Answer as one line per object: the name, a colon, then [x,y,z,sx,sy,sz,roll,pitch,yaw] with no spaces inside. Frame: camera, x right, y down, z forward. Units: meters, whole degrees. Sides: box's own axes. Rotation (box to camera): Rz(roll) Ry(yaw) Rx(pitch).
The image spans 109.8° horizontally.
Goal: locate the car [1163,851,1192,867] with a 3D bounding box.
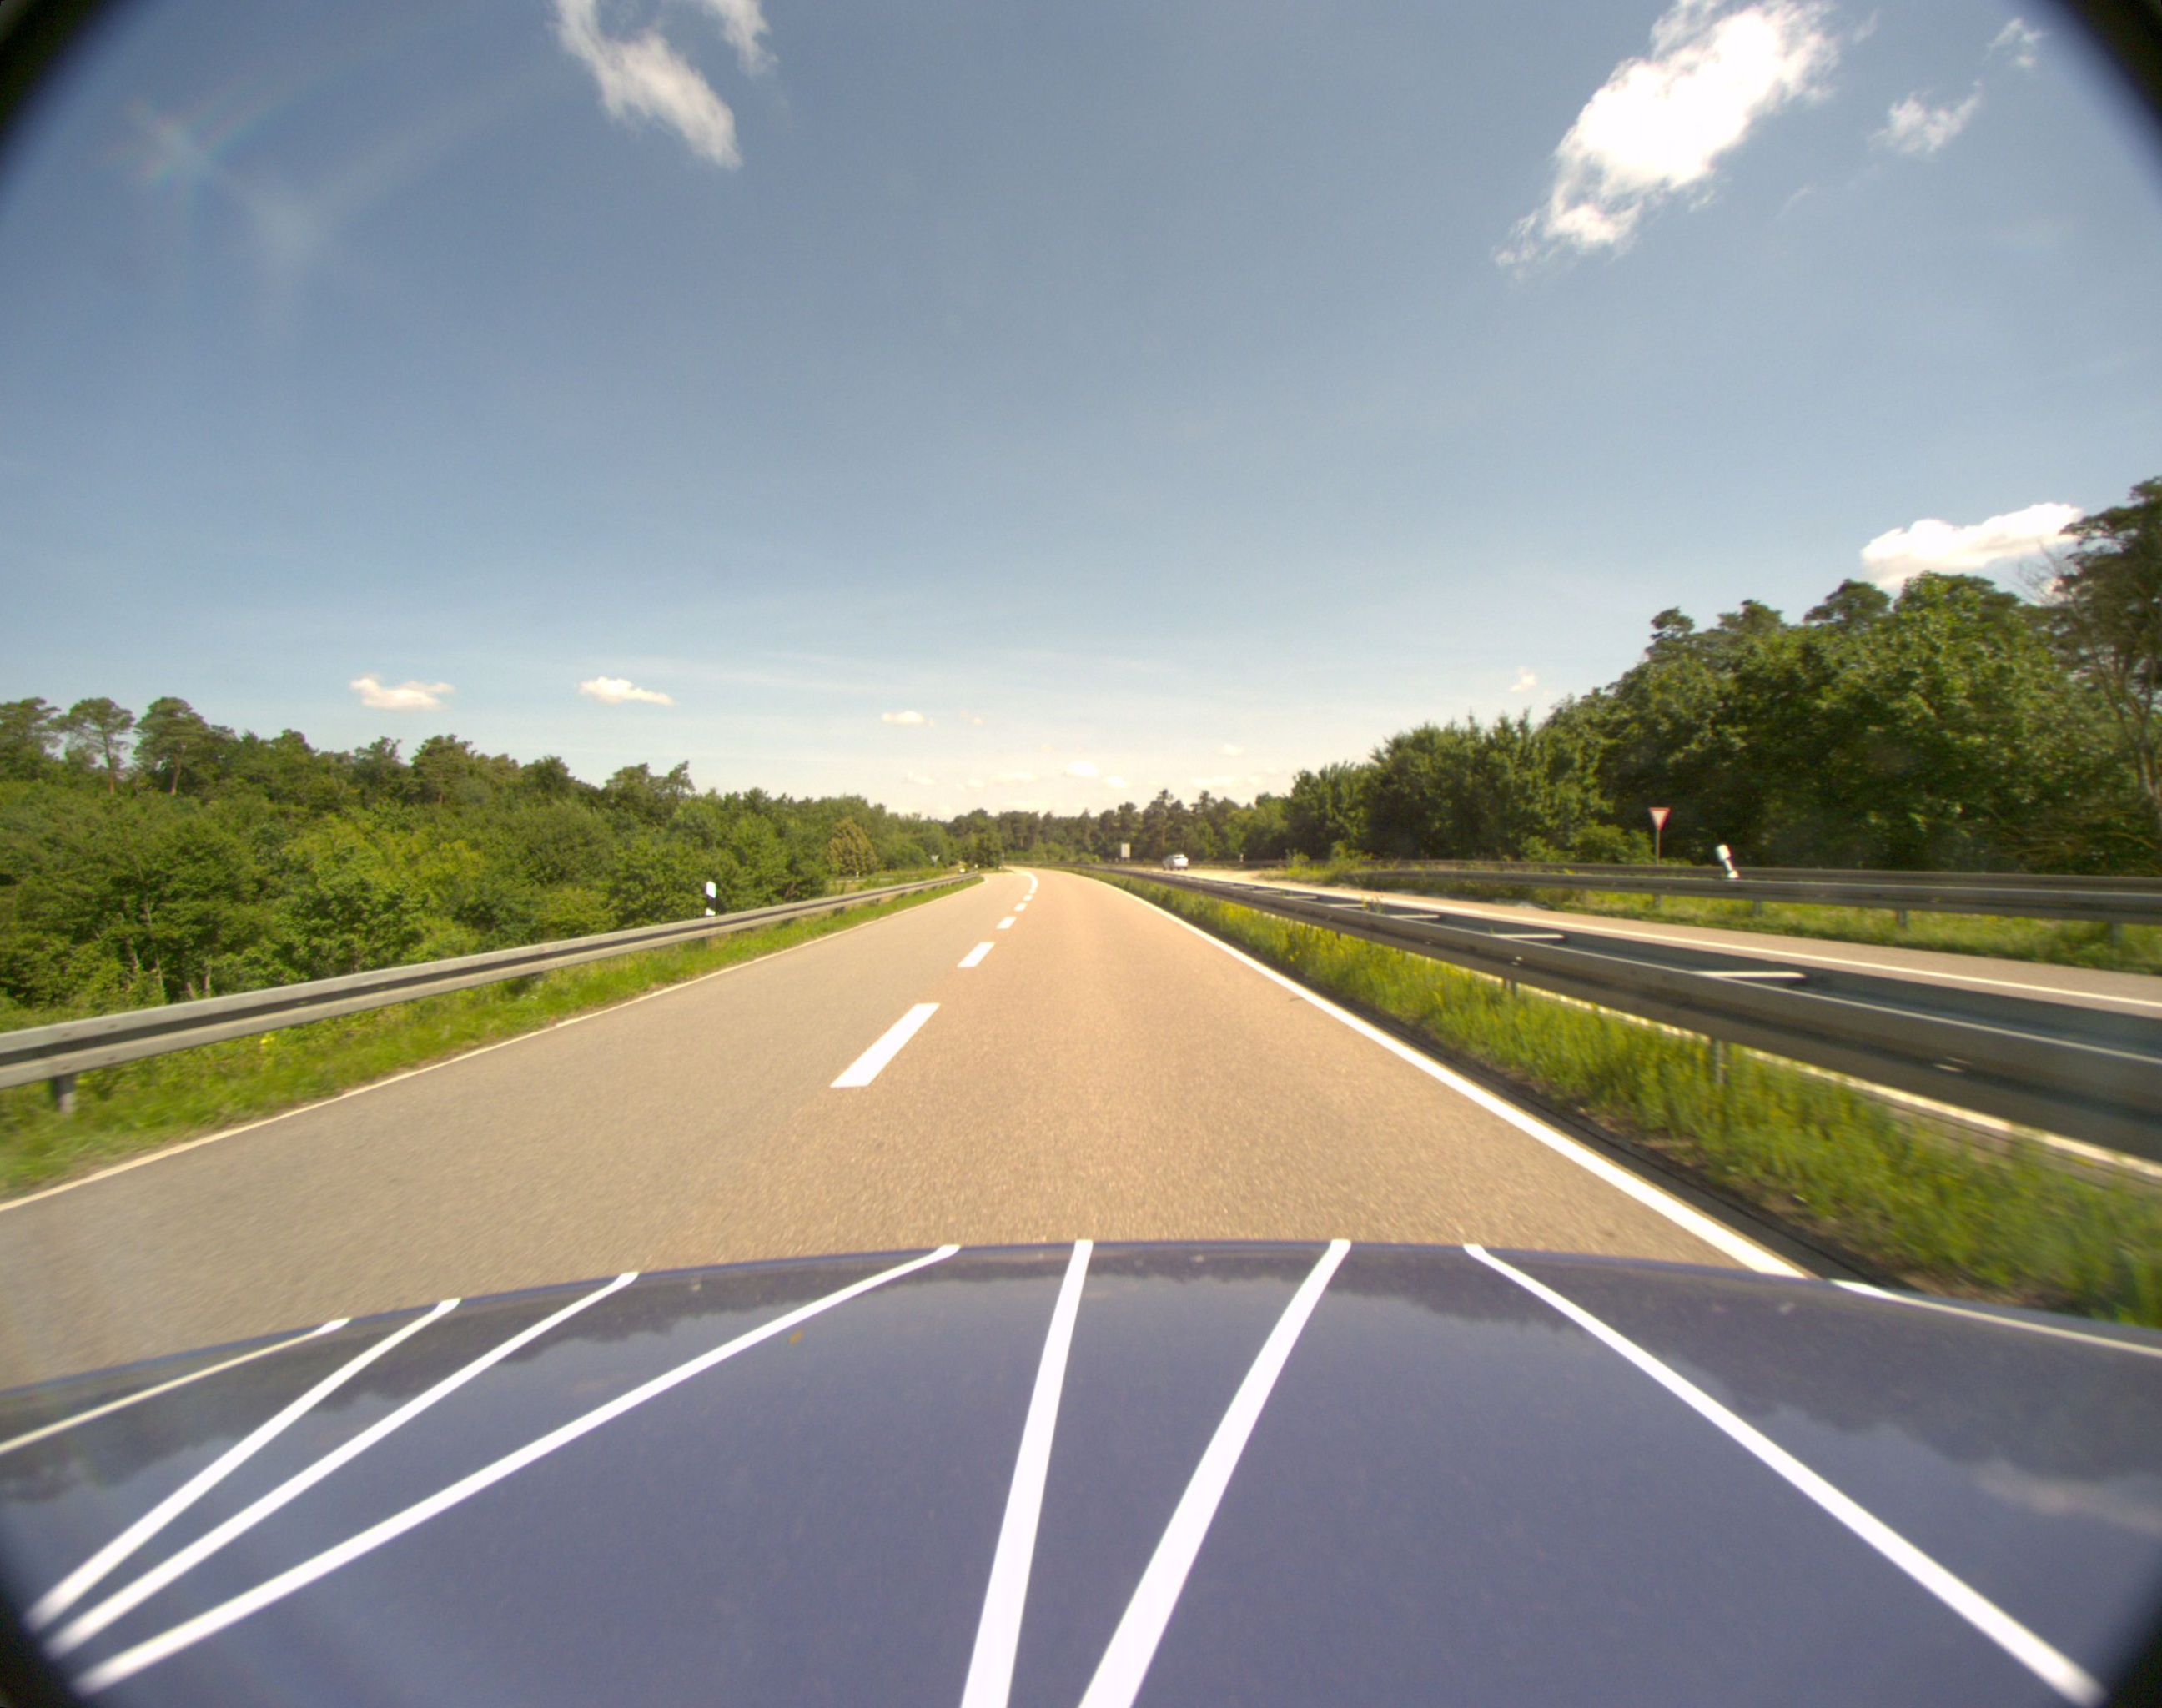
car: [9.125,0.457,72.112,1.684,1.419,4.208,-2,0,-8]
